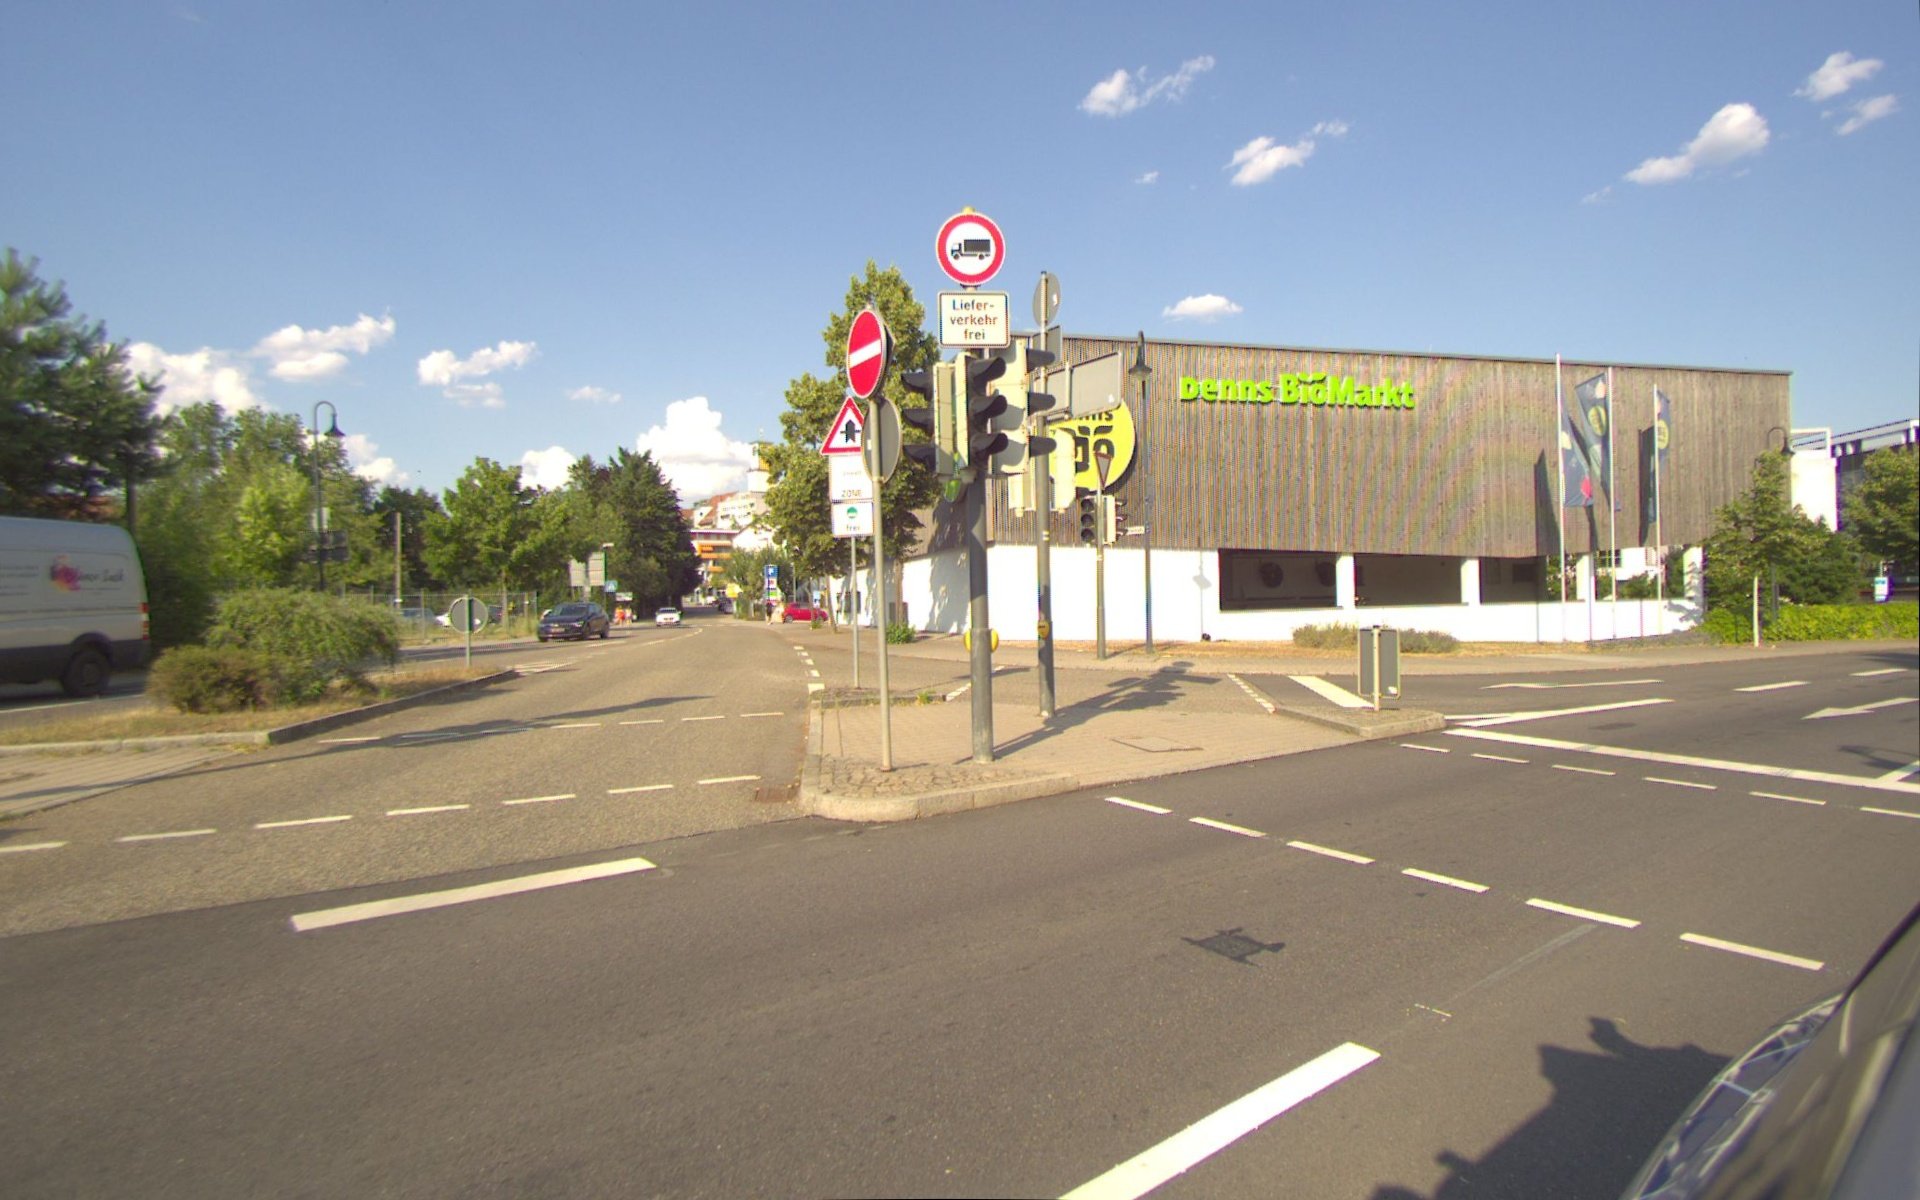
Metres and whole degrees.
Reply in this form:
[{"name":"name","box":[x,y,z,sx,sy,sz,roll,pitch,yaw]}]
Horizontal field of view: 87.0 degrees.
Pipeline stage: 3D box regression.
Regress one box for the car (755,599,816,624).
[{"name":"car","box":[-12.755,0.848,74.064,4.225,1.745,1.899,0,0,-16]}]

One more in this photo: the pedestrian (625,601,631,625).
[{"name":"pedestrian","box":[-27.196,1.078,82.820,0.406,1.896,0.343,-1,1,-17]}]

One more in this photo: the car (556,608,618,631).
[{"name":"car","box":[-27.880,1.441,75.772,4.225,1.473,1.899,-1,2,-16]}]

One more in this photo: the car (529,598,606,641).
[{"name":"car","box":[-14.770,0.695,38.303,1.820,1.471,4.006,0,1,-8]}]

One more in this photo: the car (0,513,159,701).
[{"name":"car","box":[-14.113,0.091,13.513,2.153,2.553,5.859,0,1,1]}]

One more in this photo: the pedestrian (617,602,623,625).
[{"name":"pedestrian","box":[-27.800,1.083,82.641,0.412,1.896,0.343,-1,1,-17]}]

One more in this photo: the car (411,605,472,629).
[{"name":"car","box":[-43.475,1.420,85.000,4.225,1.744,1.899,-1,2,-16]}]
